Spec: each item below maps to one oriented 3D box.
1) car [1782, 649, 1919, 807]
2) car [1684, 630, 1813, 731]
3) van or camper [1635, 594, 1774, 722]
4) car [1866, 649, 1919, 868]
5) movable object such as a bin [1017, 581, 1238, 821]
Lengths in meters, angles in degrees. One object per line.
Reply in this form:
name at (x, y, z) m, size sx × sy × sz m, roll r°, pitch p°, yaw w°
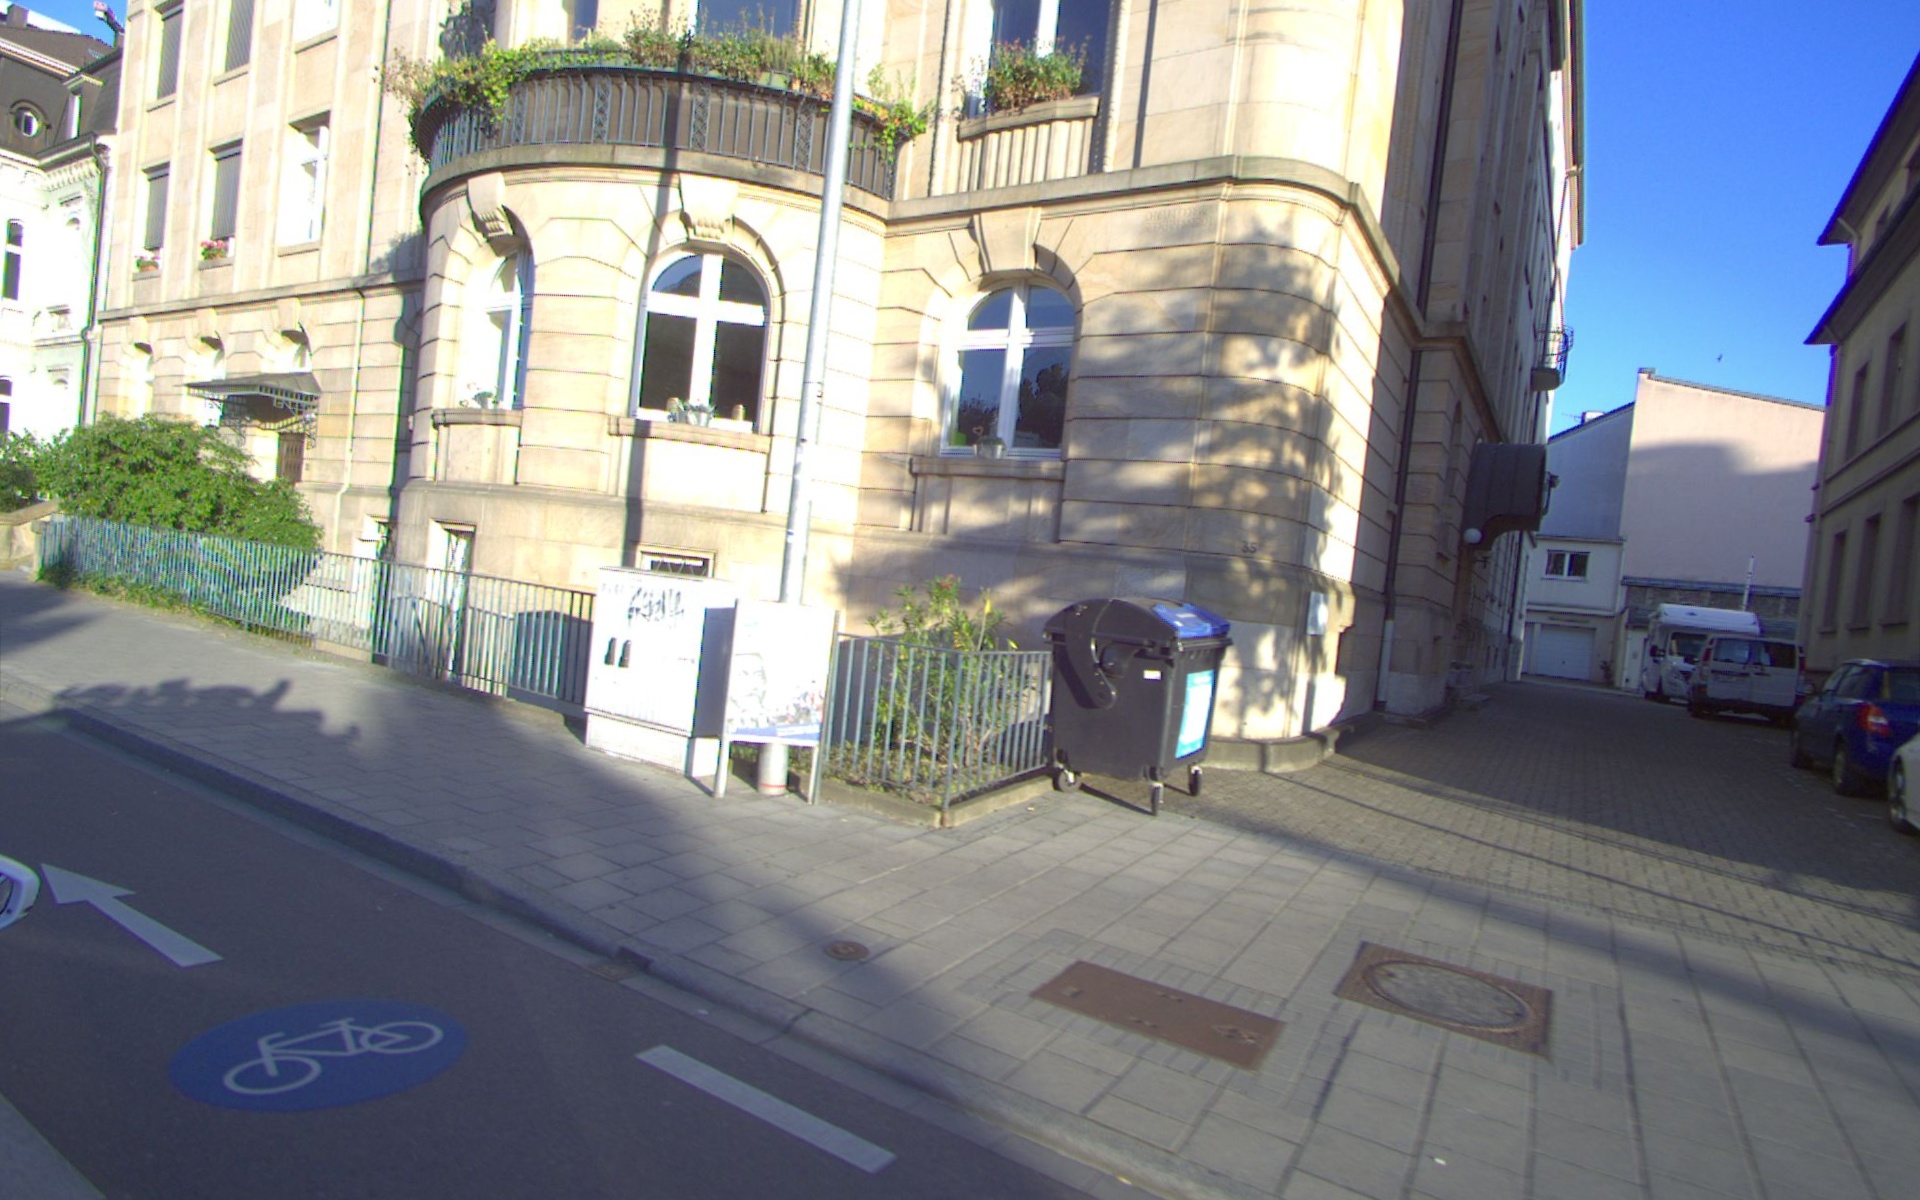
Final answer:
car at (10.757, 1.406, 11.536) m, size 1.473 × 1.503 × 3.549 m, roll 7°, pitch 2°, yaw 32°
car at (17.658, 1.808, 22.715) m, size 1.786 × 1.872 × 4.126 m, roll 7°, pitch 0°, yaw 34°
van or camper at (22.035, 1.740, 30.078) m, size 2.373 × 3.203 × 6.211 m, roll 7°, pitch 0°, yaw 31°
car at (8.181, 1.338, 7.125) m, size 1.886 × 1.593 × 4.190 m, roll 7°, pitch 4°, yaw 34°
movable object such as a bin at (1.260, 0.696, 7.396) m, size 1.104 × 1.480 × 1.262 m, roll 7°, pitch 1°, yaw 28°
